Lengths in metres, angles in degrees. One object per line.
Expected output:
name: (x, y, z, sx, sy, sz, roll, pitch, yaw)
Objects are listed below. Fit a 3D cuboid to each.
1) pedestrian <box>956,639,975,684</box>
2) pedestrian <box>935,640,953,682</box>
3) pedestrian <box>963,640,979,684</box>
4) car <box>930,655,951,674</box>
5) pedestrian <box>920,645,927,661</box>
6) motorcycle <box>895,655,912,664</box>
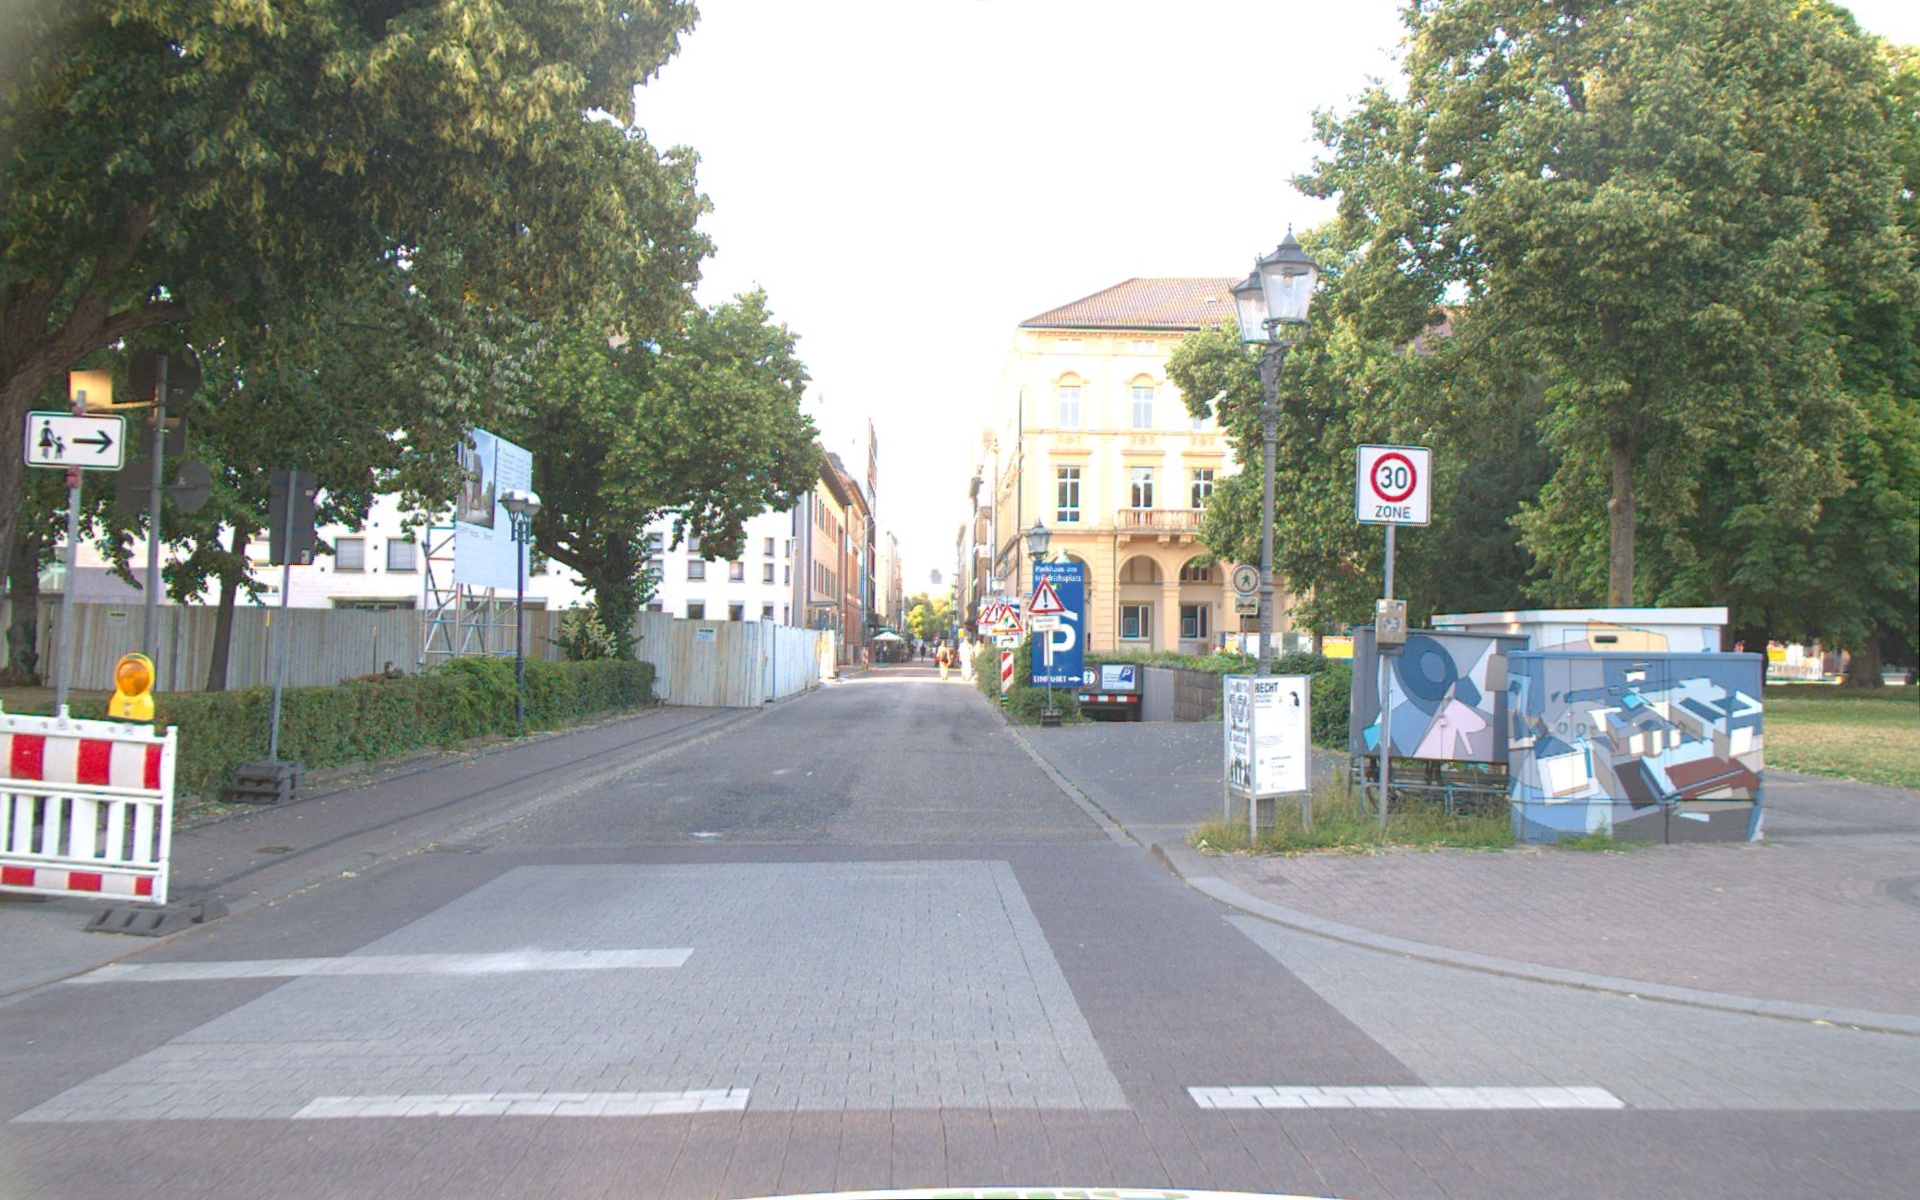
pedestrian: (0.223, 2.608, 70.639, 0.795, 1.908, 0.874, 0, -2, -2)
pedestrian: (-0.684, 2.593, 70.742, 0.760, 1.777, 0.874, 0, -2, -2)
pedestrian: (0.467, 2.607, 69.501, 0.623, 1.835, 0.771, 0, -2, -2)
car: (-1.601, 5.262, 135.383, 1.616, 1.452, 3.534, 3, -2, 0)
pedestrian: (-3.990, 5.833, 181.320, 0.788, 1.702, 0.888, 1, -2, 1)
motorcycle: (-6.031, 6.317, 175.126, 1.766, 0.891, 0.560, 1, -2, -5)
